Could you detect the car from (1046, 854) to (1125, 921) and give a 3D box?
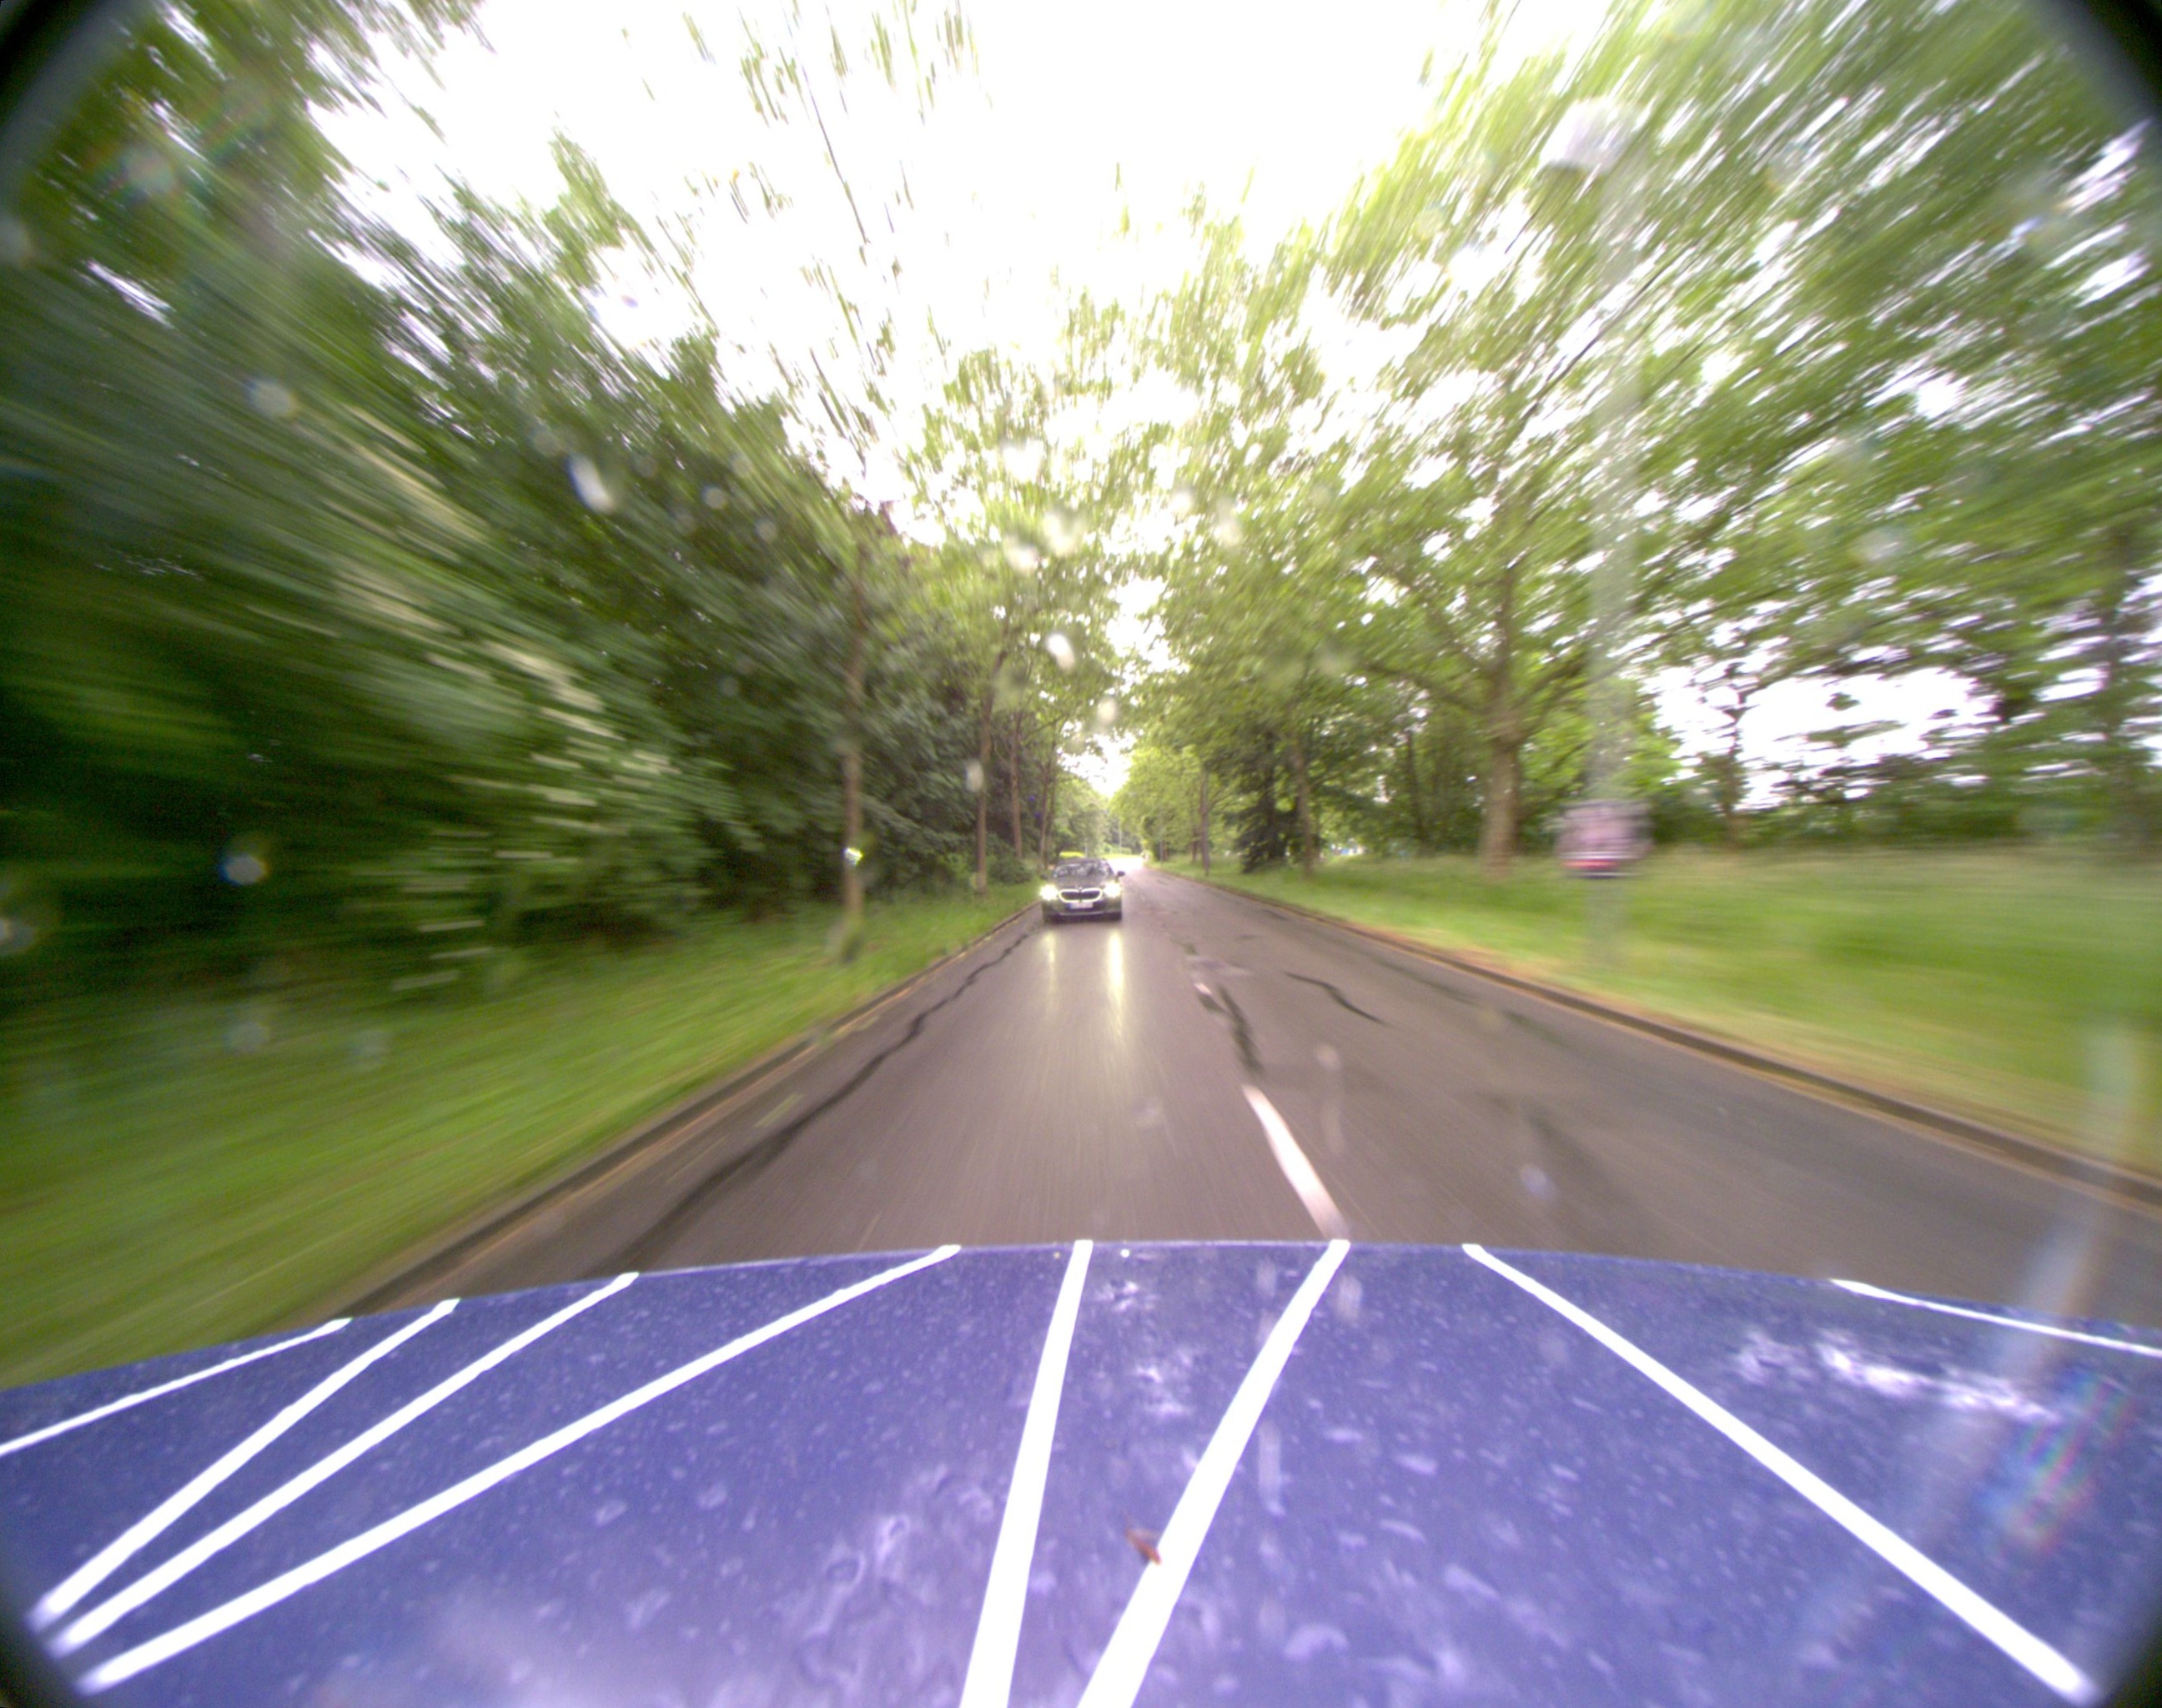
[{"bbox_3d":[0.226,0.821,20.792,1.831,1.499,4.499,-3,0,3],"label":"car"}]
